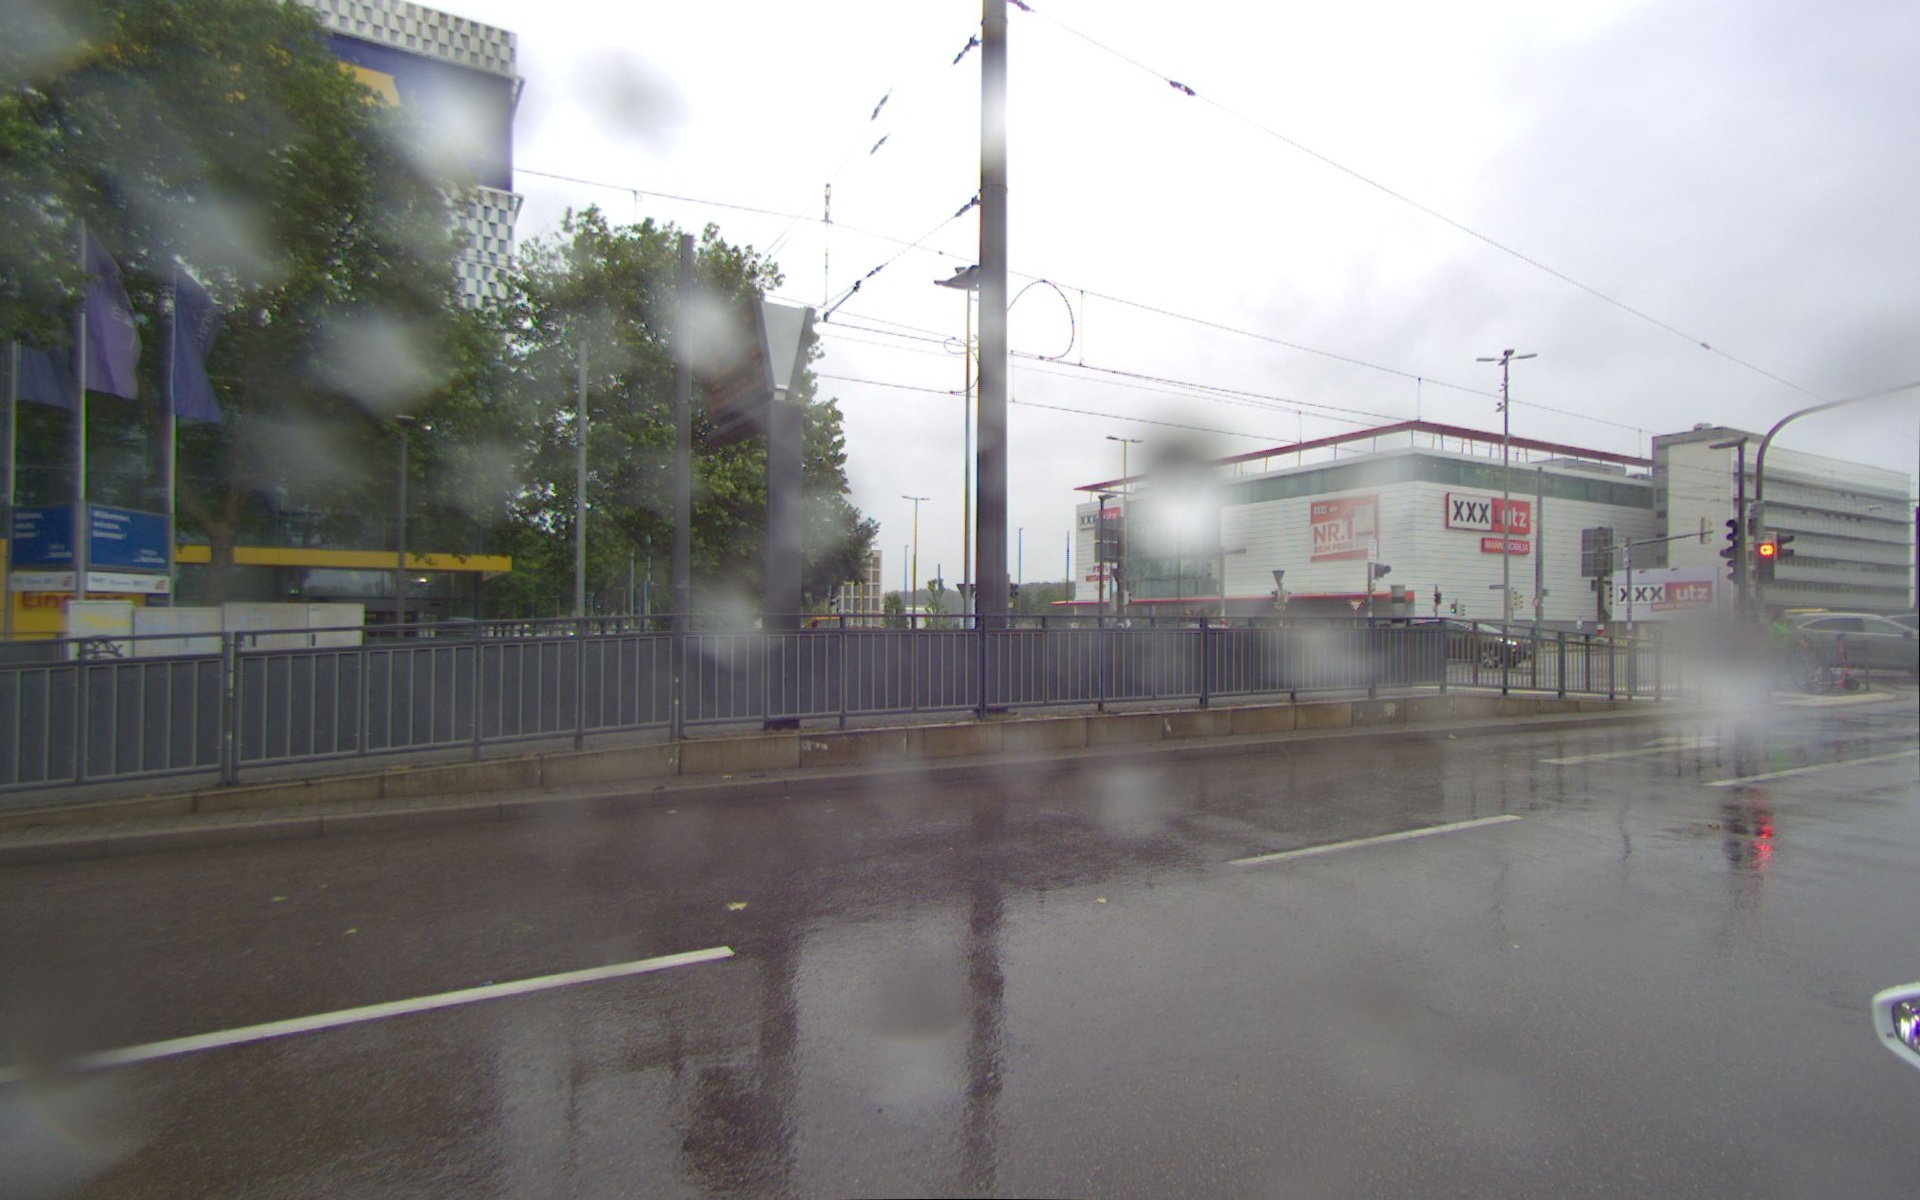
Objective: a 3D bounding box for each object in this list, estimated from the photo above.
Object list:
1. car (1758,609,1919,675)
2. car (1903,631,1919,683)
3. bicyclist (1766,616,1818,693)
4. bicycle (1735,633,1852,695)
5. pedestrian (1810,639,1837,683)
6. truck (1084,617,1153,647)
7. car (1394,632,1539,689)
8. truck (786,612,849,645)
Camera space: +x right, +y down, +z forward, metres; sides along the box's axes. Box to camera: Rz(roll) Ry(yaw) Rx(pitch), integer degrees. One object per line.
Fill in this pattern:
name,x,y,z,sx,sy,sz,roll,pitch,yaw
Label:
car,24.105,1.115,26.613,4.434,1.521,1.709,3,1,35
car,30.454,1.814,29.111,1.703,1.521,4.449,2,1,-44
bicyclist,16.869,1.099,20.379,0.593,1.511,0.600,2,1,20
bicycle,16.882,1.281,20.377,1.724,1.153,0.520,2,1,18
pedestrian,18.488,1.295,21.517,0.376,0.909,0.313,1,2,-32
truck,12.326,2.437,78.411,1.990,1.968,5.847,2,1,-31
car,16.350,1.900,32.558,1.525,1.417,3.874,0,3,-43
truck,-11.849,2.302,82.944,2.445,2.240,7.329,2,1,-31
